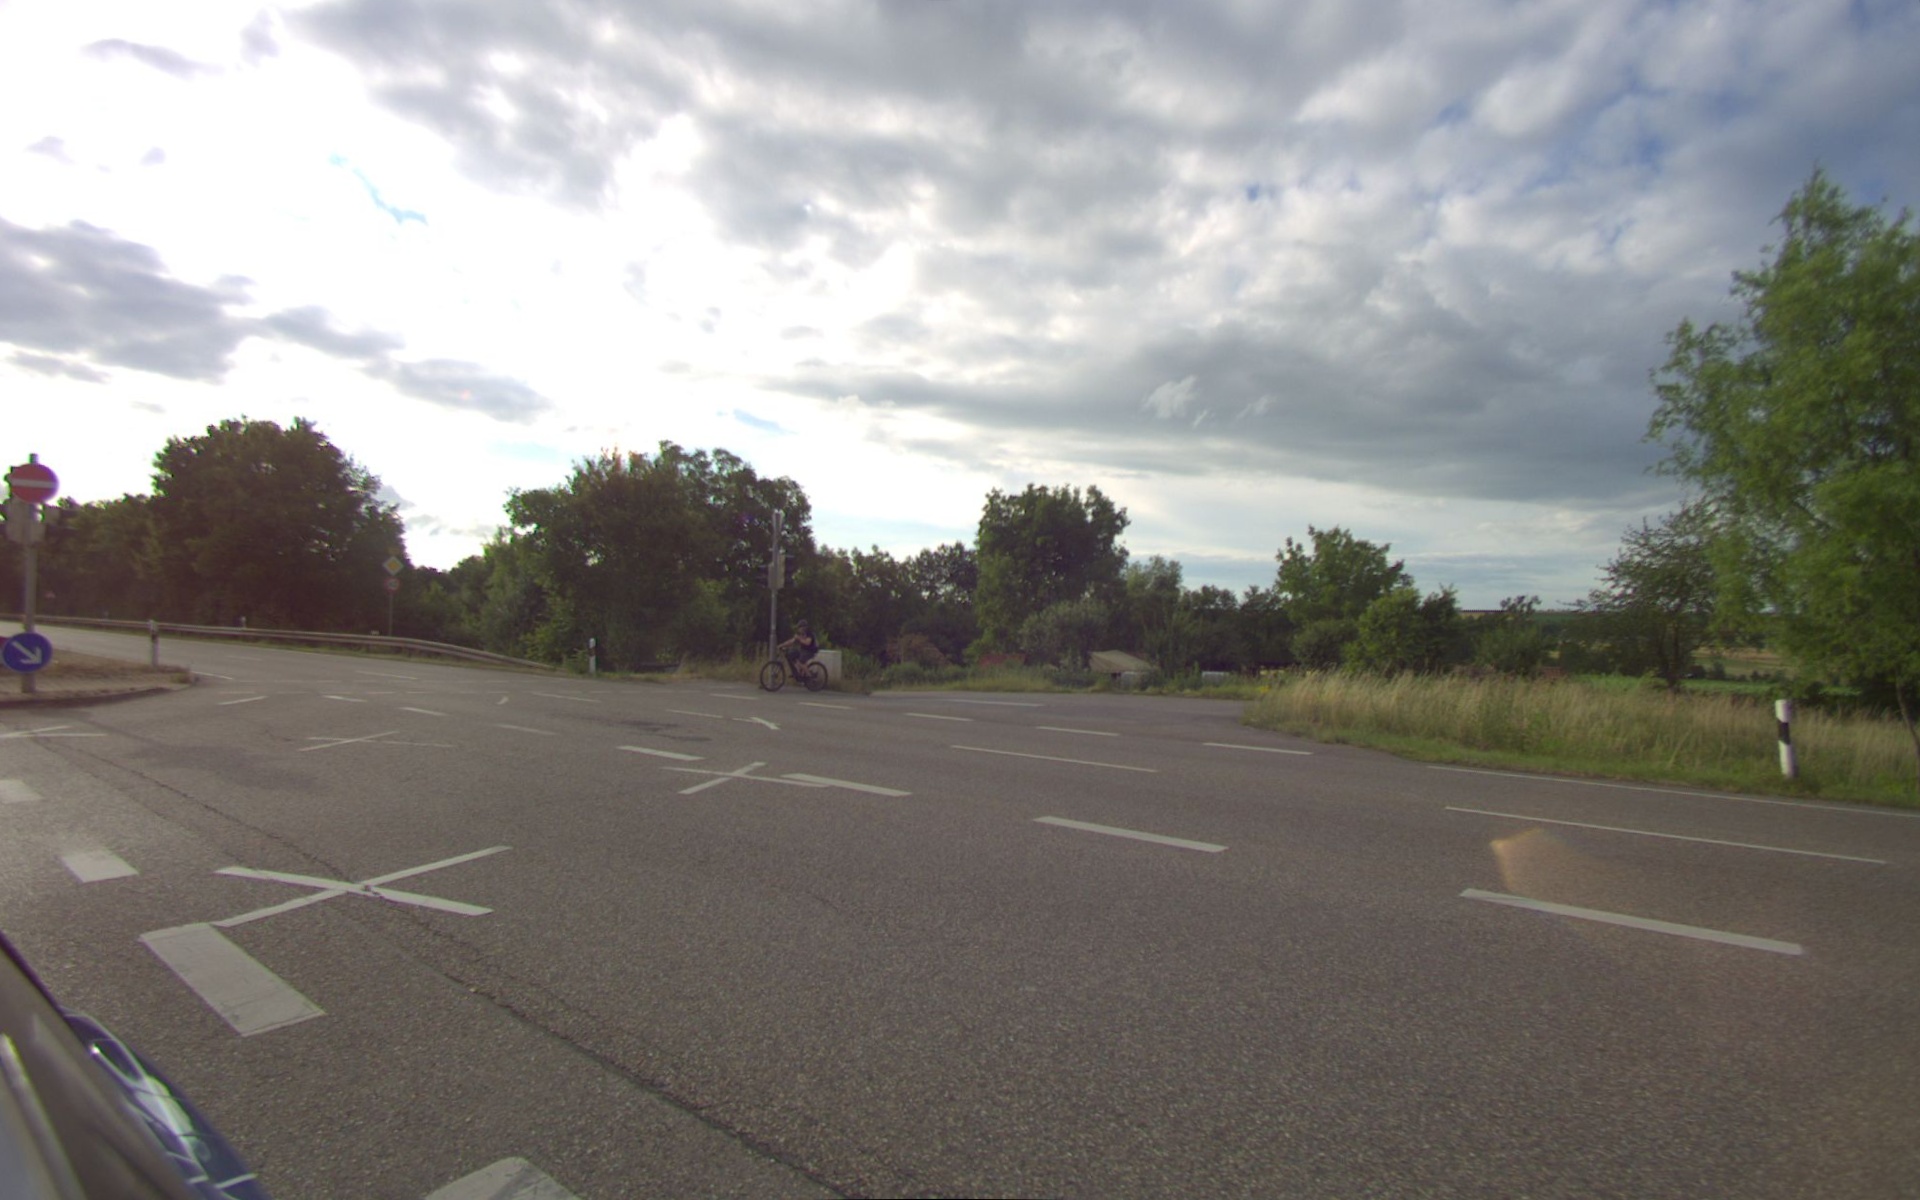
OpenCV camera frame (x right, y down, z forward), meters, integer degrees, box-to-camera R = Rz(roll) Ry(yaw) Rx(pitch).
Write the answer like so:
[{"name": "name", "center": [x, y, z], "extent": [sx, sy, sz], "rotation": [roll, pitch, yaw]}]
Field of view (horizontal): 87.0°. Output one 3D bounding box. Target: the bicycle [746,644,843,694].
[{"name": "bicycle", "center": [-4.063, 1.682, 24.971], "extent": [2.293, 1.146, 0.816], "rotation": [3, -3, -45]}]

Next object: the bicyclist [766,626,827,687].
[{"name": "bicyclist", "center": [-4.027, 1.389, 24.994], "extent": [1.208, 1.462, 0.816], "rotation": [3, -3, -44]}]
